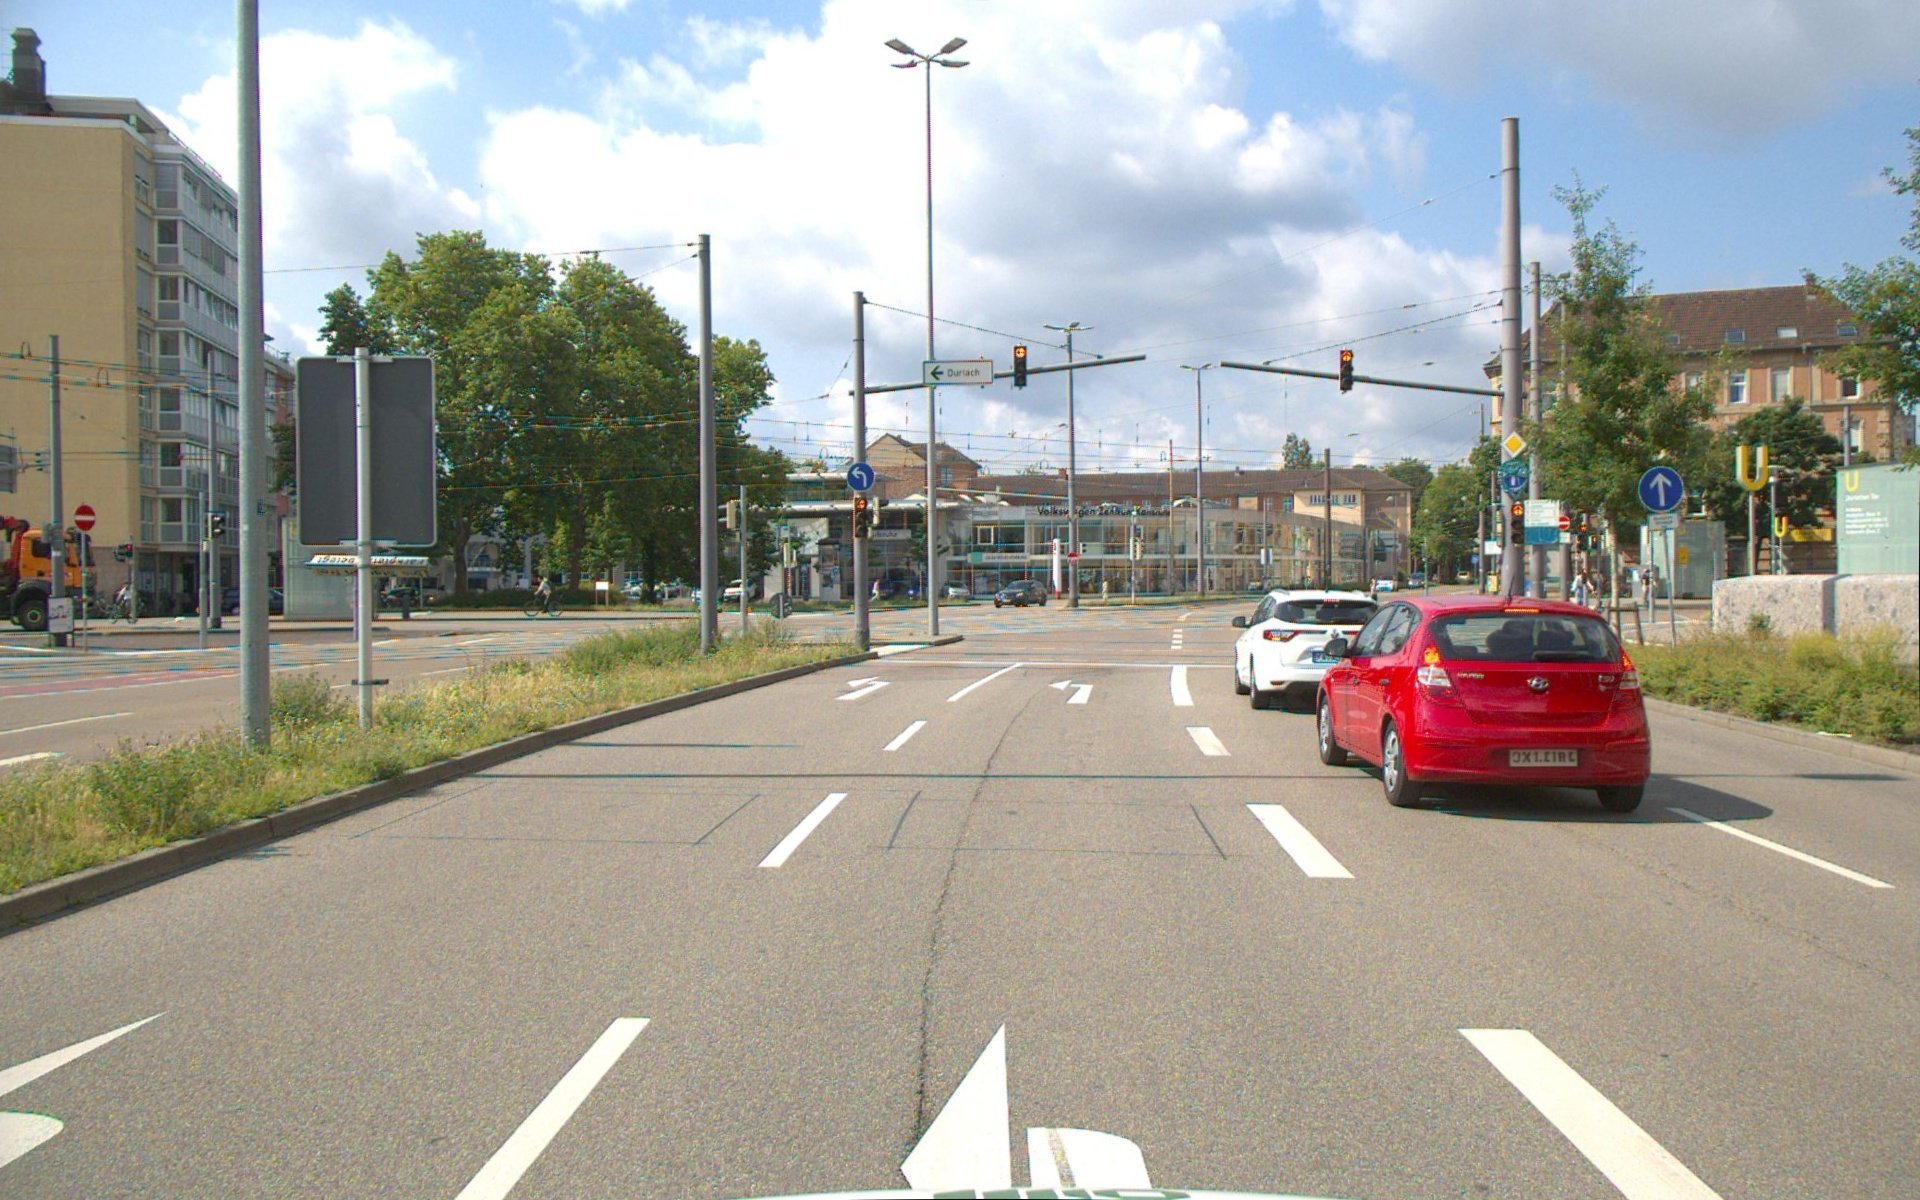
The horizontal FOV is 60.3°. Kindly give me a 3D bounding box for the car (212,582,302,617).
[{"bbox_3d":[-35.532,-0.036,83.667,3.921,1.691,1.992,-1,1,-15],"label":"car"}]

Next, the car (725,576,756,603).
[{"bbox_3d":[-17.409,-0.849,131.209,1.953,2.049,3.999,-1,1,-1],"label":"car"}]

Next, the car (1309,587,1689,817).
[{"bbox_3d":[3.955,0.649,12.863,1.778,1.464,4.069,1,1,2],"label":"car"}]

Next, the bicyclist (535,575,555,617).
[{"bbox_3d":[-19.112,-0.197,76.099,0.871,1.903,0.761,-1,0,-15],"label":"bicyclist"}]

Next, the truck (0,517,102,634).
[{"bbox_3d":[-33.646,-0.798,56.009,7.786,3.923,2.191,-1,0,-17],"label":"truck"}]

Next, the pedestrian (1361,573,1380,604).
[{"bbox_3d":[21.055,-0.586,84.839,0.667,1.562,0.666,-1,1,-35],"label":"pedestrian"}]

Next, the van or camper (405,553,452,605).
[{"bbox_3d":[-31.796,-1.261,99.030,2.541,2.959,6.070,-1,1,-17],"label":"van or camper"}]

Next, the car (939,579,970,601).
[{"bbox_3d":[-0.452,-0.793,129.680,1.955,1.624,3.995,0,1,-6],"label":"car"}]

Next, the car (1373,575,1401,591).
[{"bbox_3d":[39.879,-1.613,154.387,1.953,1.467,4.000,0,1,22],"label":"car"}]

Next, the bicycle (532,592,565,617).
[{"bbox_3d":[-18.946,0.208,76.159,1.441,1.136,0.584,-1,0,-17],"label":"bicycle"}]

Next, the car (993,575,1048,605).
[{"bbox_3d":[3.370,-0.568,91.486,1.952,1.556,4.002,0,1,19],"label":"car"}]

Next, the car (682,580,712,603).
[{"bbox_3d":[-20.914,-0.693,131.501,1.761,1.800,3.999,-1,1,-1],"label":"car"}]

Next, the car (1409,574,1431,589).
[{"bbox_3d":[48.740,-1.975,175.295,1.952,1.601,4.001,0,1,19],"label":"car"}]

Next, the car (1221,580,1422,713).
[{"bbox_3d":[4.526,0.513,21.322,1.809,1.498,4.337,-1,1,3],"label":"car"}]

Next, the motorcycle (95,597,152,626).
[{"bbox_3d":[-34.154,0.467,67.588,0.764,1.134,2.437,-1,1,9],"label":"motorcycle"}]

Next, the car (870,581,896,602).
[{"bbox_3d":[-5.995,-0.694,128.946,1.953,1.579,4.077,0,1,-2],"label":"car"}]

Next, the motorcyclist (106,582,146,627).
[{"bbox_3d":[-34.139,0.188,67.684,0.868,1.813,1.243,-1,0,9],"label":"motorcyclist"}]
